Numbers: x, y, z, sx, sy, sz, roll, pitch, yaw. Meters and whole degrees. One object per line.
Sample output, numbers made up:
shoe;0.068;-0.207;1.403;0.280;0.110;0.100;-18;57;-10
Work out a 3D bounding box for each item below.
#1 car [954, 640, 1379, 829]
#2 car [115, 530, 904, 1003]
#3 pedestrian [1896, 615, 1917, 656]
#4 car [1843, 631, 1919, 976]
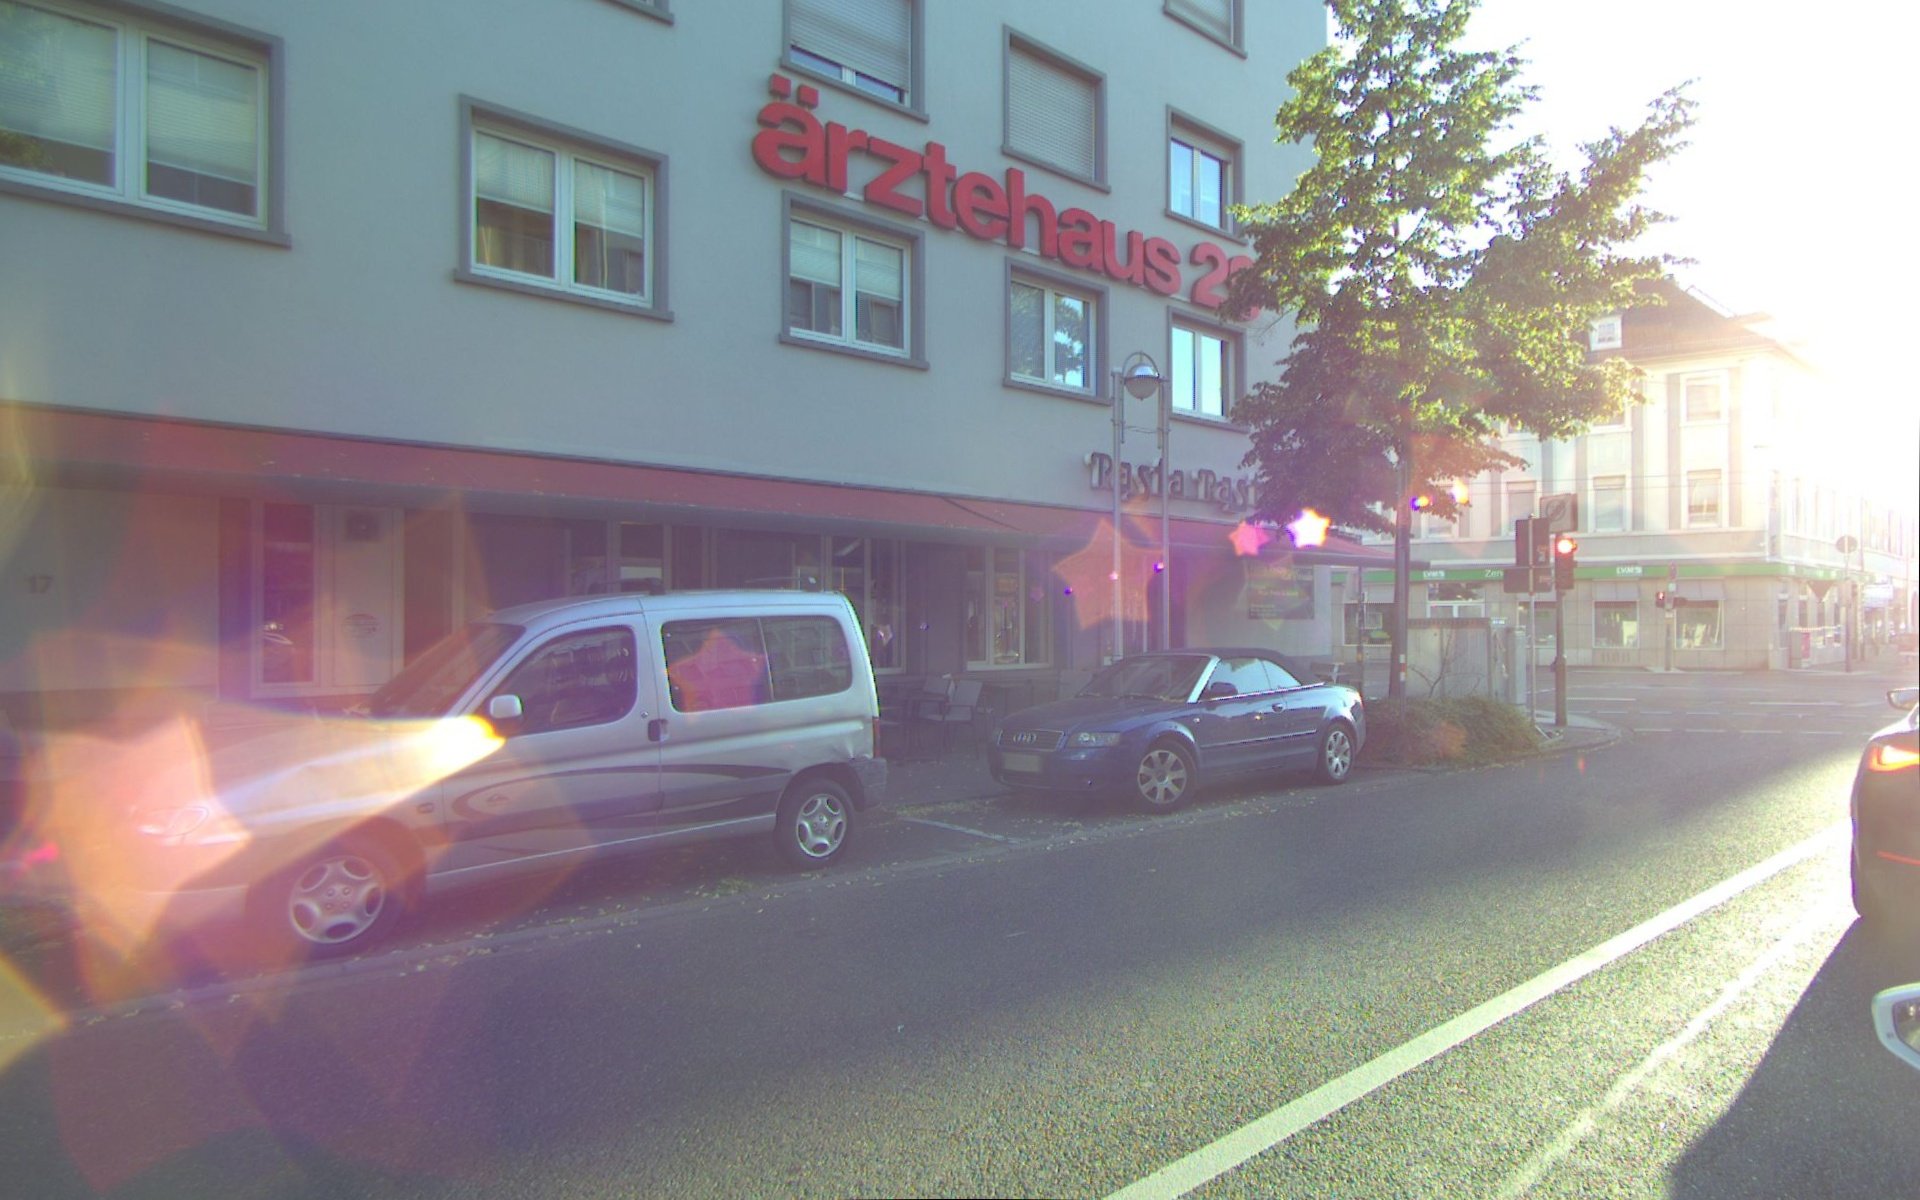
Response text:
car;2.123;1.124;9.694;4.244;1.434;1.710;2;-4;-39
car;-2.429;0.756;6.039;4.022;1.912;1.655;2;-4;-41
pedestrian;45.199;1.696;47.958;0.626;1.901;0.638;1;0;-38
car;6.063;0.904;5.104;4.188;1.447;1.723;1;-1;-39
